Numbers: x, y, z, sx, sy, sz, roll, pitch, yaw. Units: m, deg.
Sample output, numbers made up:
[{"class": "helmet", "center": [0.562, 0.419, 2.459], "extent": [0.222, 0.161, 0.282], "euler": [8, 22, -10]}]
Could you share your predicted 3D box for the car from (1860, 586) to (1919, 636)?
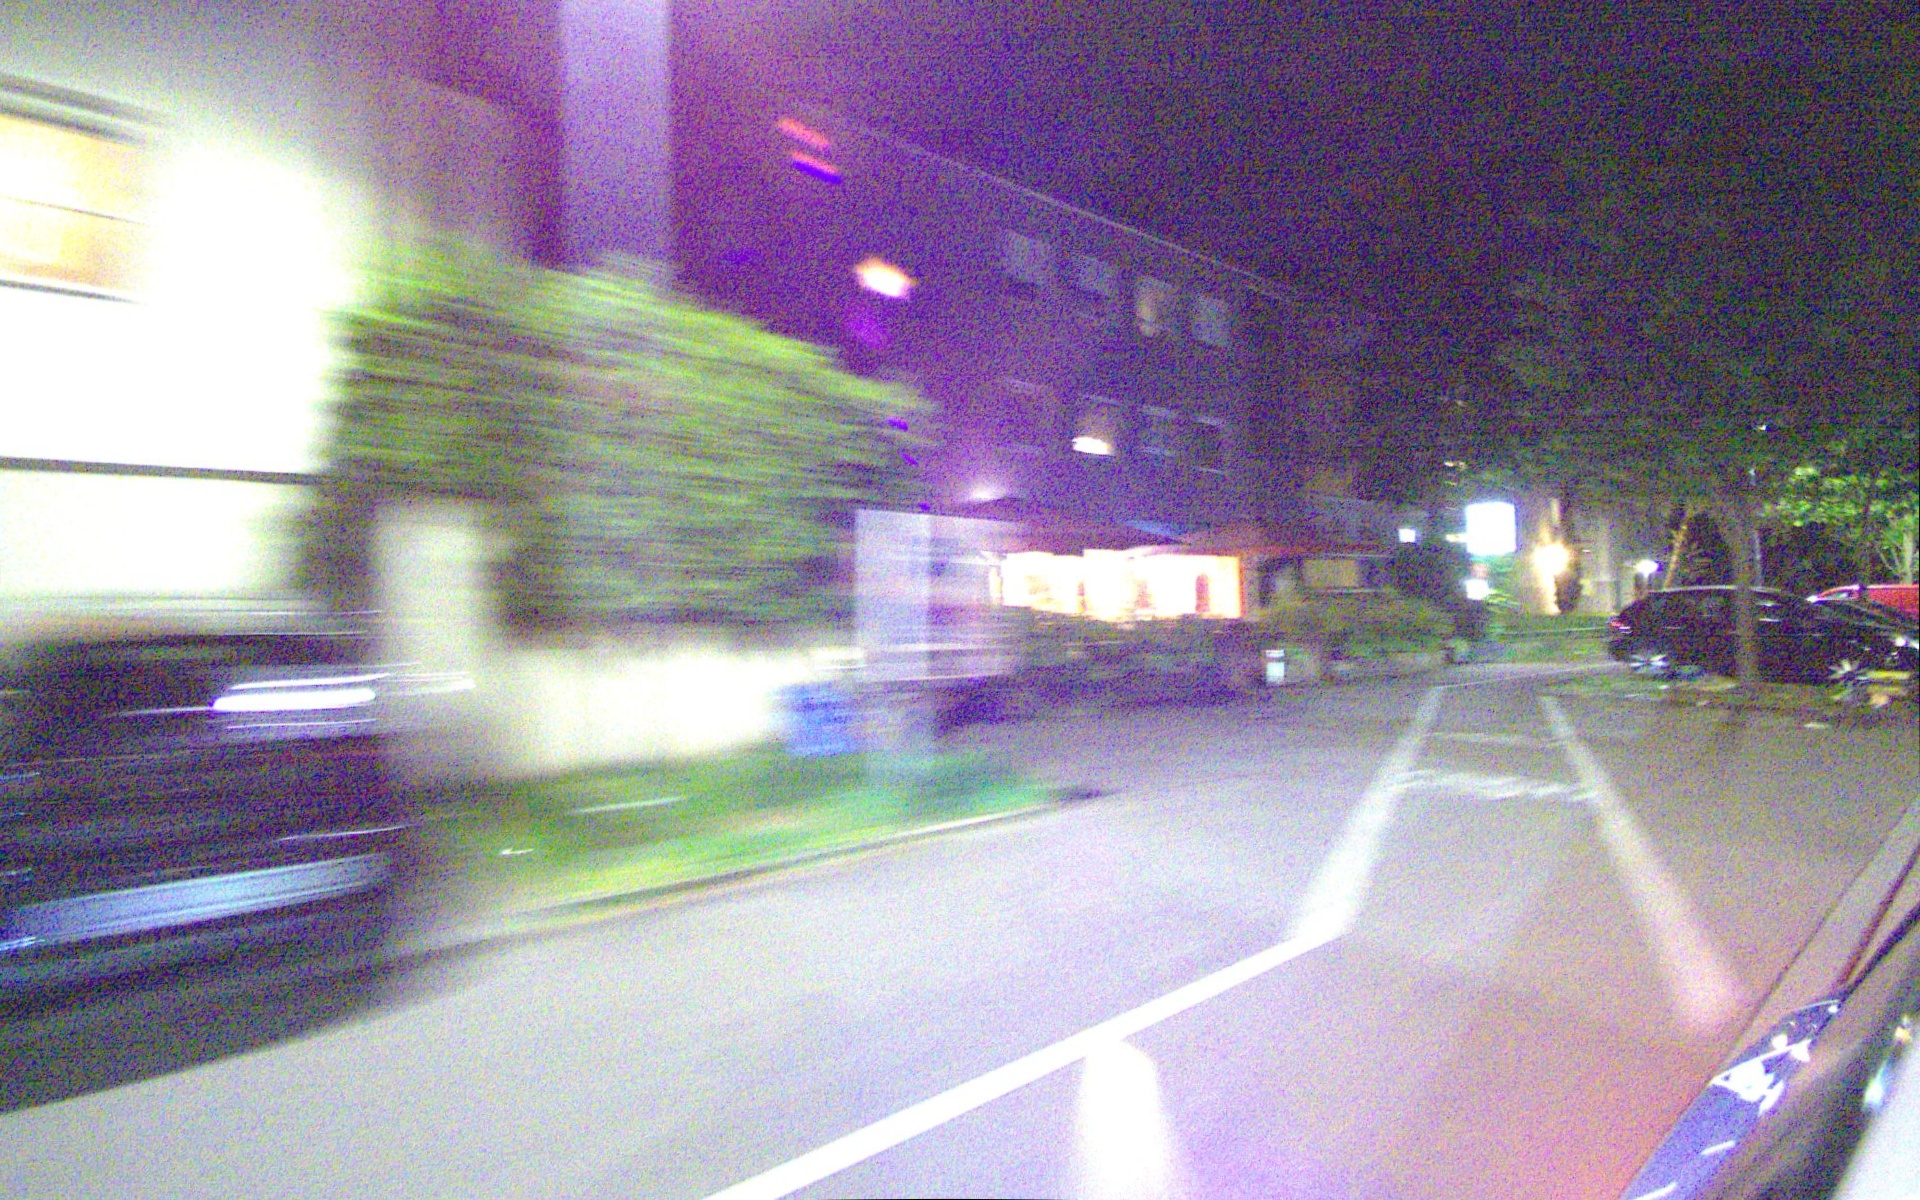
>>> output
[{"class": "car", "center": [34.508, 0.373, 35.368], "extent": [1.963, 1.719, 4.286], "euler": [0, -1, -38]}]

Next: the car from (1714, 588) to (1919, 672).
[{"class": "car", "center": [17.829, 0.548, 20.440], "extent": [1.823, 1.533, 3.921], "euler": [-1, 1, -42]}]

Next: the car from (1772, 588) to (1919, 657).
[{"class": "car", "center": [22.036, 0.502, 24.045], "extent": [1.951, 1.571, 3.927], "euler": [0, 0, -37]}]

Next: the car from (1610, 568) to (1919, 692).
[{"class": "car", "center": [13.903, 0.427, 17.235], "extent": [1.993, 1.839, 4.368], "euler": [0, 0, -36]}]

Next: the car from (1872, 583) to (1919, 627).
[{"class": "car", "center": [41.739, 0.212, 42.343], "extent": [2.221, 1.868, 5.150], "euler": [0, 0, -42]}]

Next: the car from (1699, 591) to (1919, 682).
[{"class": "car", "center": [15.947, 0.600, 18.324], "extent": [1.824, 1.533, 3.918], "euler": [0, 0, -44]}]

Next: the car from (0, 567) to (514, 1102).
[{"class": "car", "center": [-3.619, 0.621, 4.644], "extent": [1.801, 1.504, 3.911], "euler": [0, 1, -41]}]

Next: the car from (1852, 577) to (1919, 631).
[{"class": "car", "center": [39.349, 0.151, 40.591], "extent": [2.221, 2.123, 5.150], "euler": [0, 0, -42]}]
